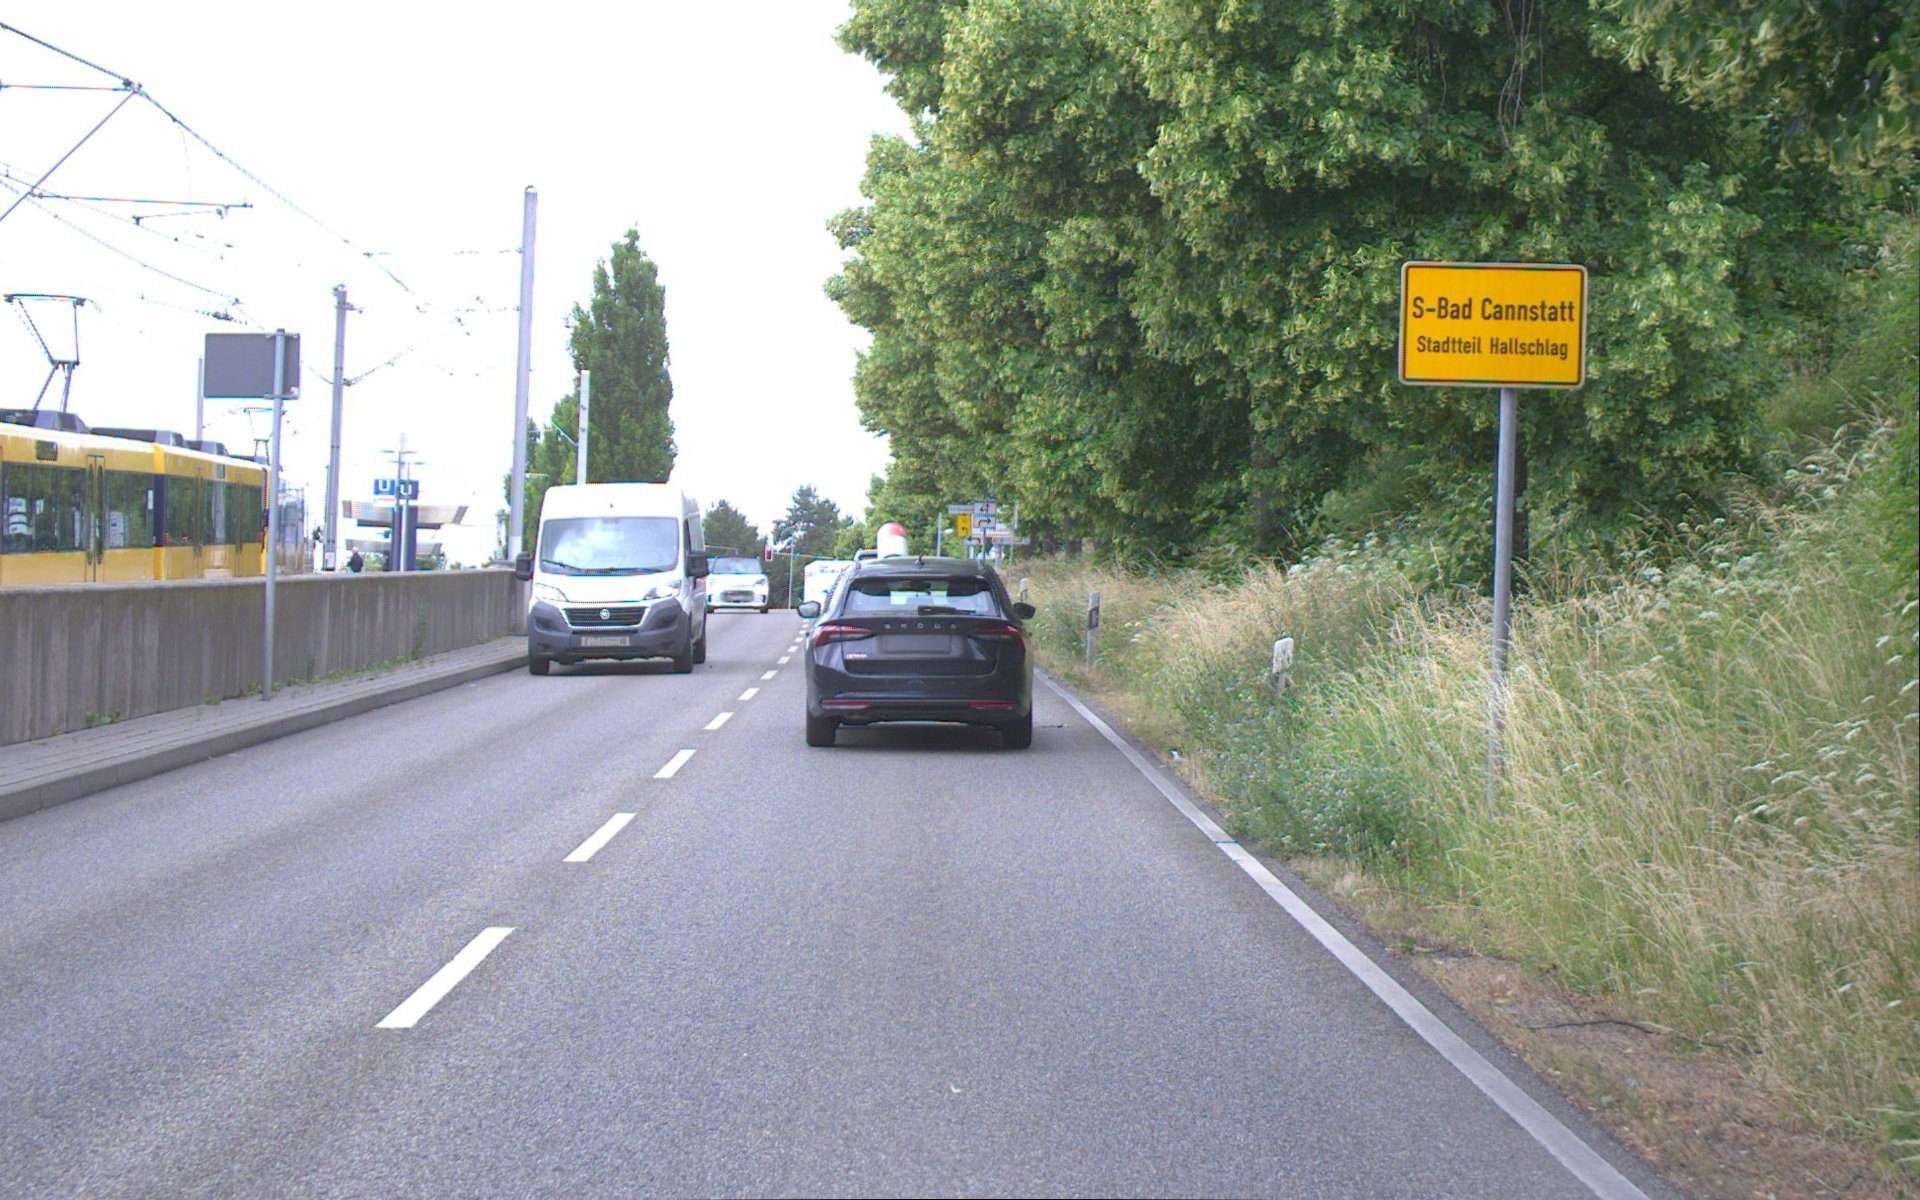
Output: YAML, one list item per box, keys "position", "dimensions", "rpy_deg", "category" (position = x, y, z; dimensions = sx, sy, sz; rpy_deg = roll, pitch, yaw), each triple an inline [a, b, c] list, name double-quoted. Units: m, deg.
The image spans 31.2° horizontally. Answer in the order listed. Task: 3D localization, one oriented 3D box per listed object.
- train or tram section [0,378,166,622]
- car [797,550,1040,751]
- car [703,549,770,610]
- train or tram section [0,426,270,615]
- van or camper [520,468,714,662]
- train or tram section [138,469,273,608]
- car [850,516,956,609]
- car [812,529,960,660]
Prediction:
- position: [-13.839, -1.289, 46.772]
  dimensions: [2.811, 3.106, 18.917]
  rpy_deg: [0, 0, -4]
  category: "train or tram section"
- position: [-0.339, 0.344, 27.410]
  dimensions: [1.781, 1.463, 4.000]
  rpy_deg: [1, 1, -1]
  category: "car"
- position: [-6.002, -0.565, 92.038]
  dimensions: [1.731, 1.566, 4.001]
  rpy_deg: [0, 1, -4]
  category: "car"
- position: [-15.458, -1.315, 65.727]
  dimensions: [2.803, 3.066, 19.105]
  rpy_deg: [0, 0, -6]
  category: "train or tram section"
- position: [-4.475, -0.479, 45.675]
  dimensions: [2.082, 2.388, 6.138]
  rpy_deg: [1, 1, -1]
  category: "van or camper"
- position: [-18.365, -1.357, 84.559]
  dimensions: [2.800, 3.015, 19.313]
  rpy_deg: [0, 0, -11]
  category: "train or tram section"
- position: [-1.101, -0.709, 66.978]
  dimensions: [1.993, 1.734, 4.000]
  rpy_deg: [0, 0, -1]
  category: "car"
- position: [-1.048, -0.105, 48.766]
  dimensions: [1.993, 1.747, 4.000]
  rpy_deg: [1, 1, -1]
  category: "car"
